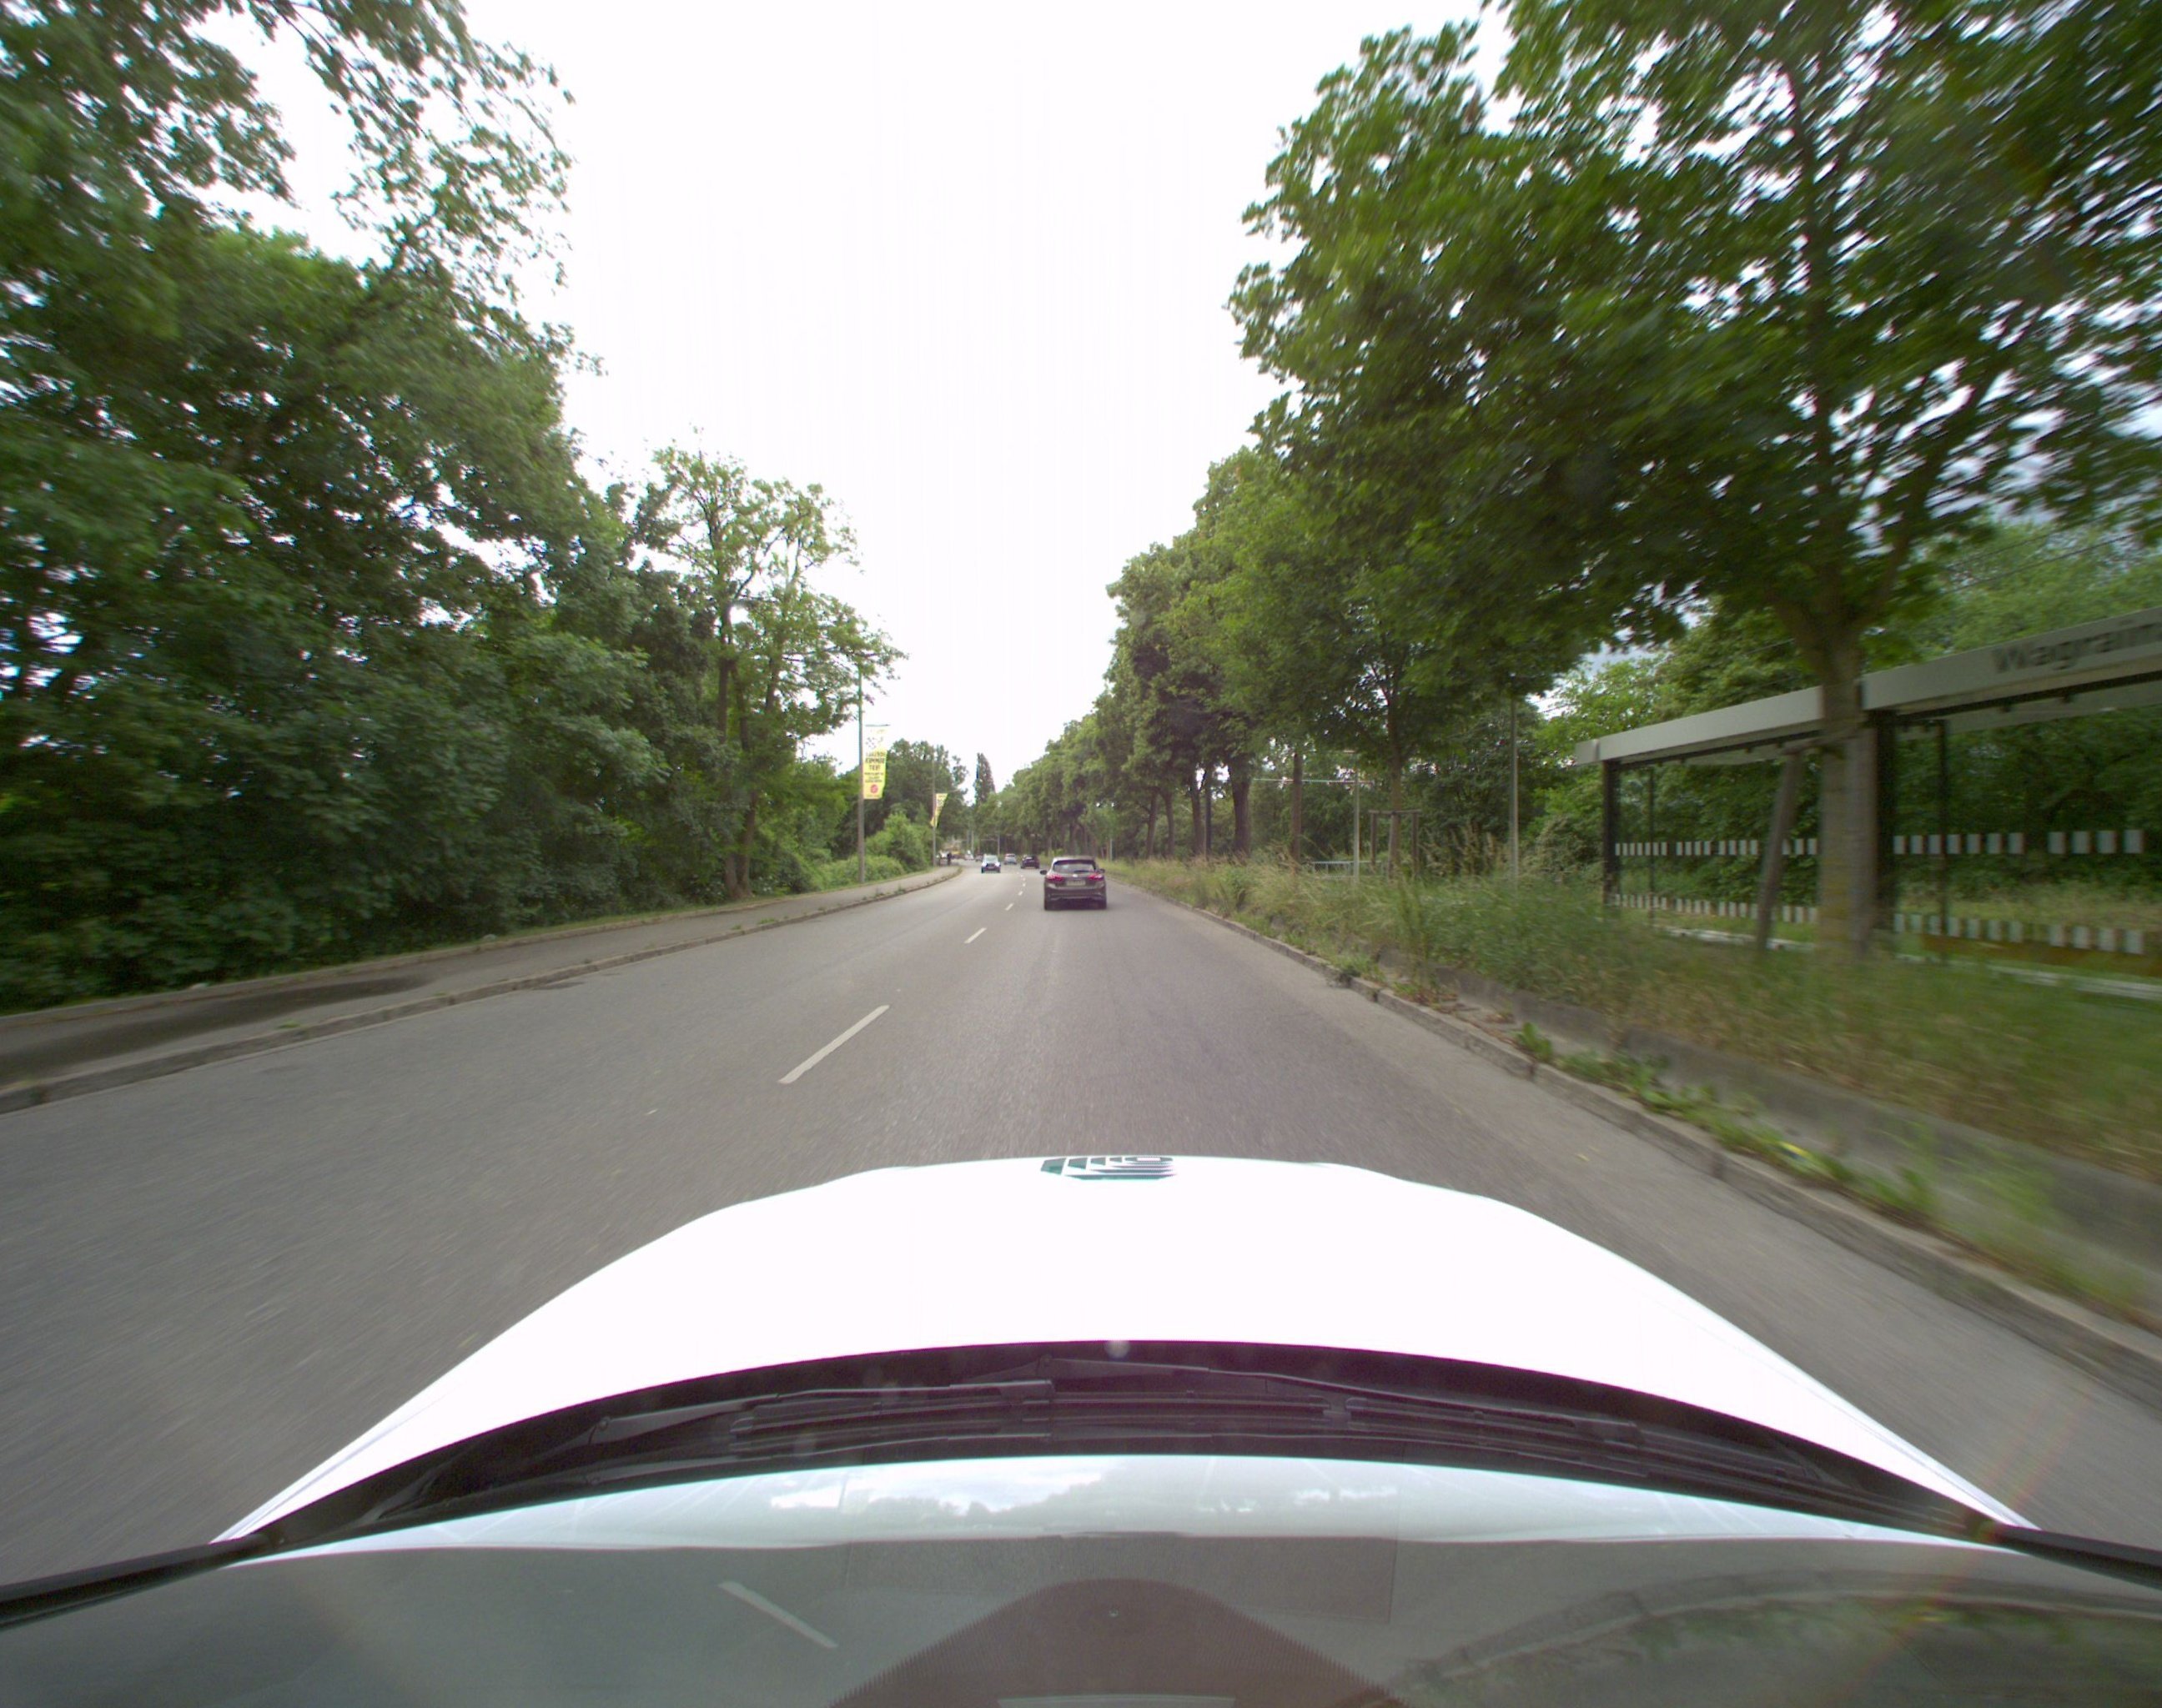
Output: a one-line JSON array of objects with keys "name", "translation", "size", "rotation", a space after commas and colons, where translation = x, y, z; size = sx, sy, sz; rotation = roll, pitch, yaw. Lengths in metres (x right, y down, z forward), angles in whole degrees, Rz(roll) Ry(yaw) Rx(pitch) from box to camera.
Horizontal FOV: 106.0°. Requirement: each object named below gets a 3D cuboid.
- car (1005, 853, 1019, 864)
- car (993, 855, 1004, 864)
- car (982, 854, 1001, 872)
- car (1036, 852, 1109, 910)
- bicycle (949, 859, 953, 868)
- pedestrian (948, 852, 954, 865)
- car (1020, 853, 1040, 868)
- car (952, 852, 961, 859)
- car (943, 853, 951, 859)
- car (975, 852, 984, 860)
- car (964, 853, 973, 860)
[{"name": "car", "translation": [-9.702, 0.648, 114.715], "size": [1.773, 1.472, 3.994], "rotation": [2, 1, -4]}, {"name": "car", "translation": [-15.174, 1.020, 148.986], "size": [1.776, 1.472, 3.987], "rotation": [1, 1, -10]}, {"name": "car", "translation": [-7.923, 0.804, 72.351], "size": [1.593, 1.506, 3.023], "rotation": [-1, 0, -5]}, {"name": "car", "translation": [-0.337, 0.732, 24.305], "size": [1.813, 1.508, 3.993], "rotation": [-1, 1, -6]}, {"name": "bicycle", "translation": [-15.621, 1.160, 97.851], "size": [0.487, 1.030, 1.121], "rotation": [2, 1, -7]}, {"name": "pedestrian", "translation": [-15.627, 0.531, 97.874], "size": [0.617, 1.571, 0.847], "rotation": [2, 0, -7]}, {"name": "car", "translation": [-5.368, 0.676, 85.224], "size": [1.775, 1.472, 3.988], "rotation": [2, 1, -9]}, {"name": "car", "translation": [-31.850, 0.380, 207.961], "size": [1.779, 1.472, 3.980], "rotation": [2, 1, -15]}, {"name": "car", "translation": [-32.991, 0.567, 200.309], "size": [1.748, 1.464, 3.908], "rotation": [1, 0, -9]}, {"name": "car", "translation": [-20.064, 0.377, 160.558], "size": [1.775, 1.472, 3.989], "rotation": [1, 1, -8]}, {"name": "car", "translation": [-25.105, 0.554, 181.583], "size": [1.776, 1.472, 3.987], "rotation": [2, 1, -10]}]
